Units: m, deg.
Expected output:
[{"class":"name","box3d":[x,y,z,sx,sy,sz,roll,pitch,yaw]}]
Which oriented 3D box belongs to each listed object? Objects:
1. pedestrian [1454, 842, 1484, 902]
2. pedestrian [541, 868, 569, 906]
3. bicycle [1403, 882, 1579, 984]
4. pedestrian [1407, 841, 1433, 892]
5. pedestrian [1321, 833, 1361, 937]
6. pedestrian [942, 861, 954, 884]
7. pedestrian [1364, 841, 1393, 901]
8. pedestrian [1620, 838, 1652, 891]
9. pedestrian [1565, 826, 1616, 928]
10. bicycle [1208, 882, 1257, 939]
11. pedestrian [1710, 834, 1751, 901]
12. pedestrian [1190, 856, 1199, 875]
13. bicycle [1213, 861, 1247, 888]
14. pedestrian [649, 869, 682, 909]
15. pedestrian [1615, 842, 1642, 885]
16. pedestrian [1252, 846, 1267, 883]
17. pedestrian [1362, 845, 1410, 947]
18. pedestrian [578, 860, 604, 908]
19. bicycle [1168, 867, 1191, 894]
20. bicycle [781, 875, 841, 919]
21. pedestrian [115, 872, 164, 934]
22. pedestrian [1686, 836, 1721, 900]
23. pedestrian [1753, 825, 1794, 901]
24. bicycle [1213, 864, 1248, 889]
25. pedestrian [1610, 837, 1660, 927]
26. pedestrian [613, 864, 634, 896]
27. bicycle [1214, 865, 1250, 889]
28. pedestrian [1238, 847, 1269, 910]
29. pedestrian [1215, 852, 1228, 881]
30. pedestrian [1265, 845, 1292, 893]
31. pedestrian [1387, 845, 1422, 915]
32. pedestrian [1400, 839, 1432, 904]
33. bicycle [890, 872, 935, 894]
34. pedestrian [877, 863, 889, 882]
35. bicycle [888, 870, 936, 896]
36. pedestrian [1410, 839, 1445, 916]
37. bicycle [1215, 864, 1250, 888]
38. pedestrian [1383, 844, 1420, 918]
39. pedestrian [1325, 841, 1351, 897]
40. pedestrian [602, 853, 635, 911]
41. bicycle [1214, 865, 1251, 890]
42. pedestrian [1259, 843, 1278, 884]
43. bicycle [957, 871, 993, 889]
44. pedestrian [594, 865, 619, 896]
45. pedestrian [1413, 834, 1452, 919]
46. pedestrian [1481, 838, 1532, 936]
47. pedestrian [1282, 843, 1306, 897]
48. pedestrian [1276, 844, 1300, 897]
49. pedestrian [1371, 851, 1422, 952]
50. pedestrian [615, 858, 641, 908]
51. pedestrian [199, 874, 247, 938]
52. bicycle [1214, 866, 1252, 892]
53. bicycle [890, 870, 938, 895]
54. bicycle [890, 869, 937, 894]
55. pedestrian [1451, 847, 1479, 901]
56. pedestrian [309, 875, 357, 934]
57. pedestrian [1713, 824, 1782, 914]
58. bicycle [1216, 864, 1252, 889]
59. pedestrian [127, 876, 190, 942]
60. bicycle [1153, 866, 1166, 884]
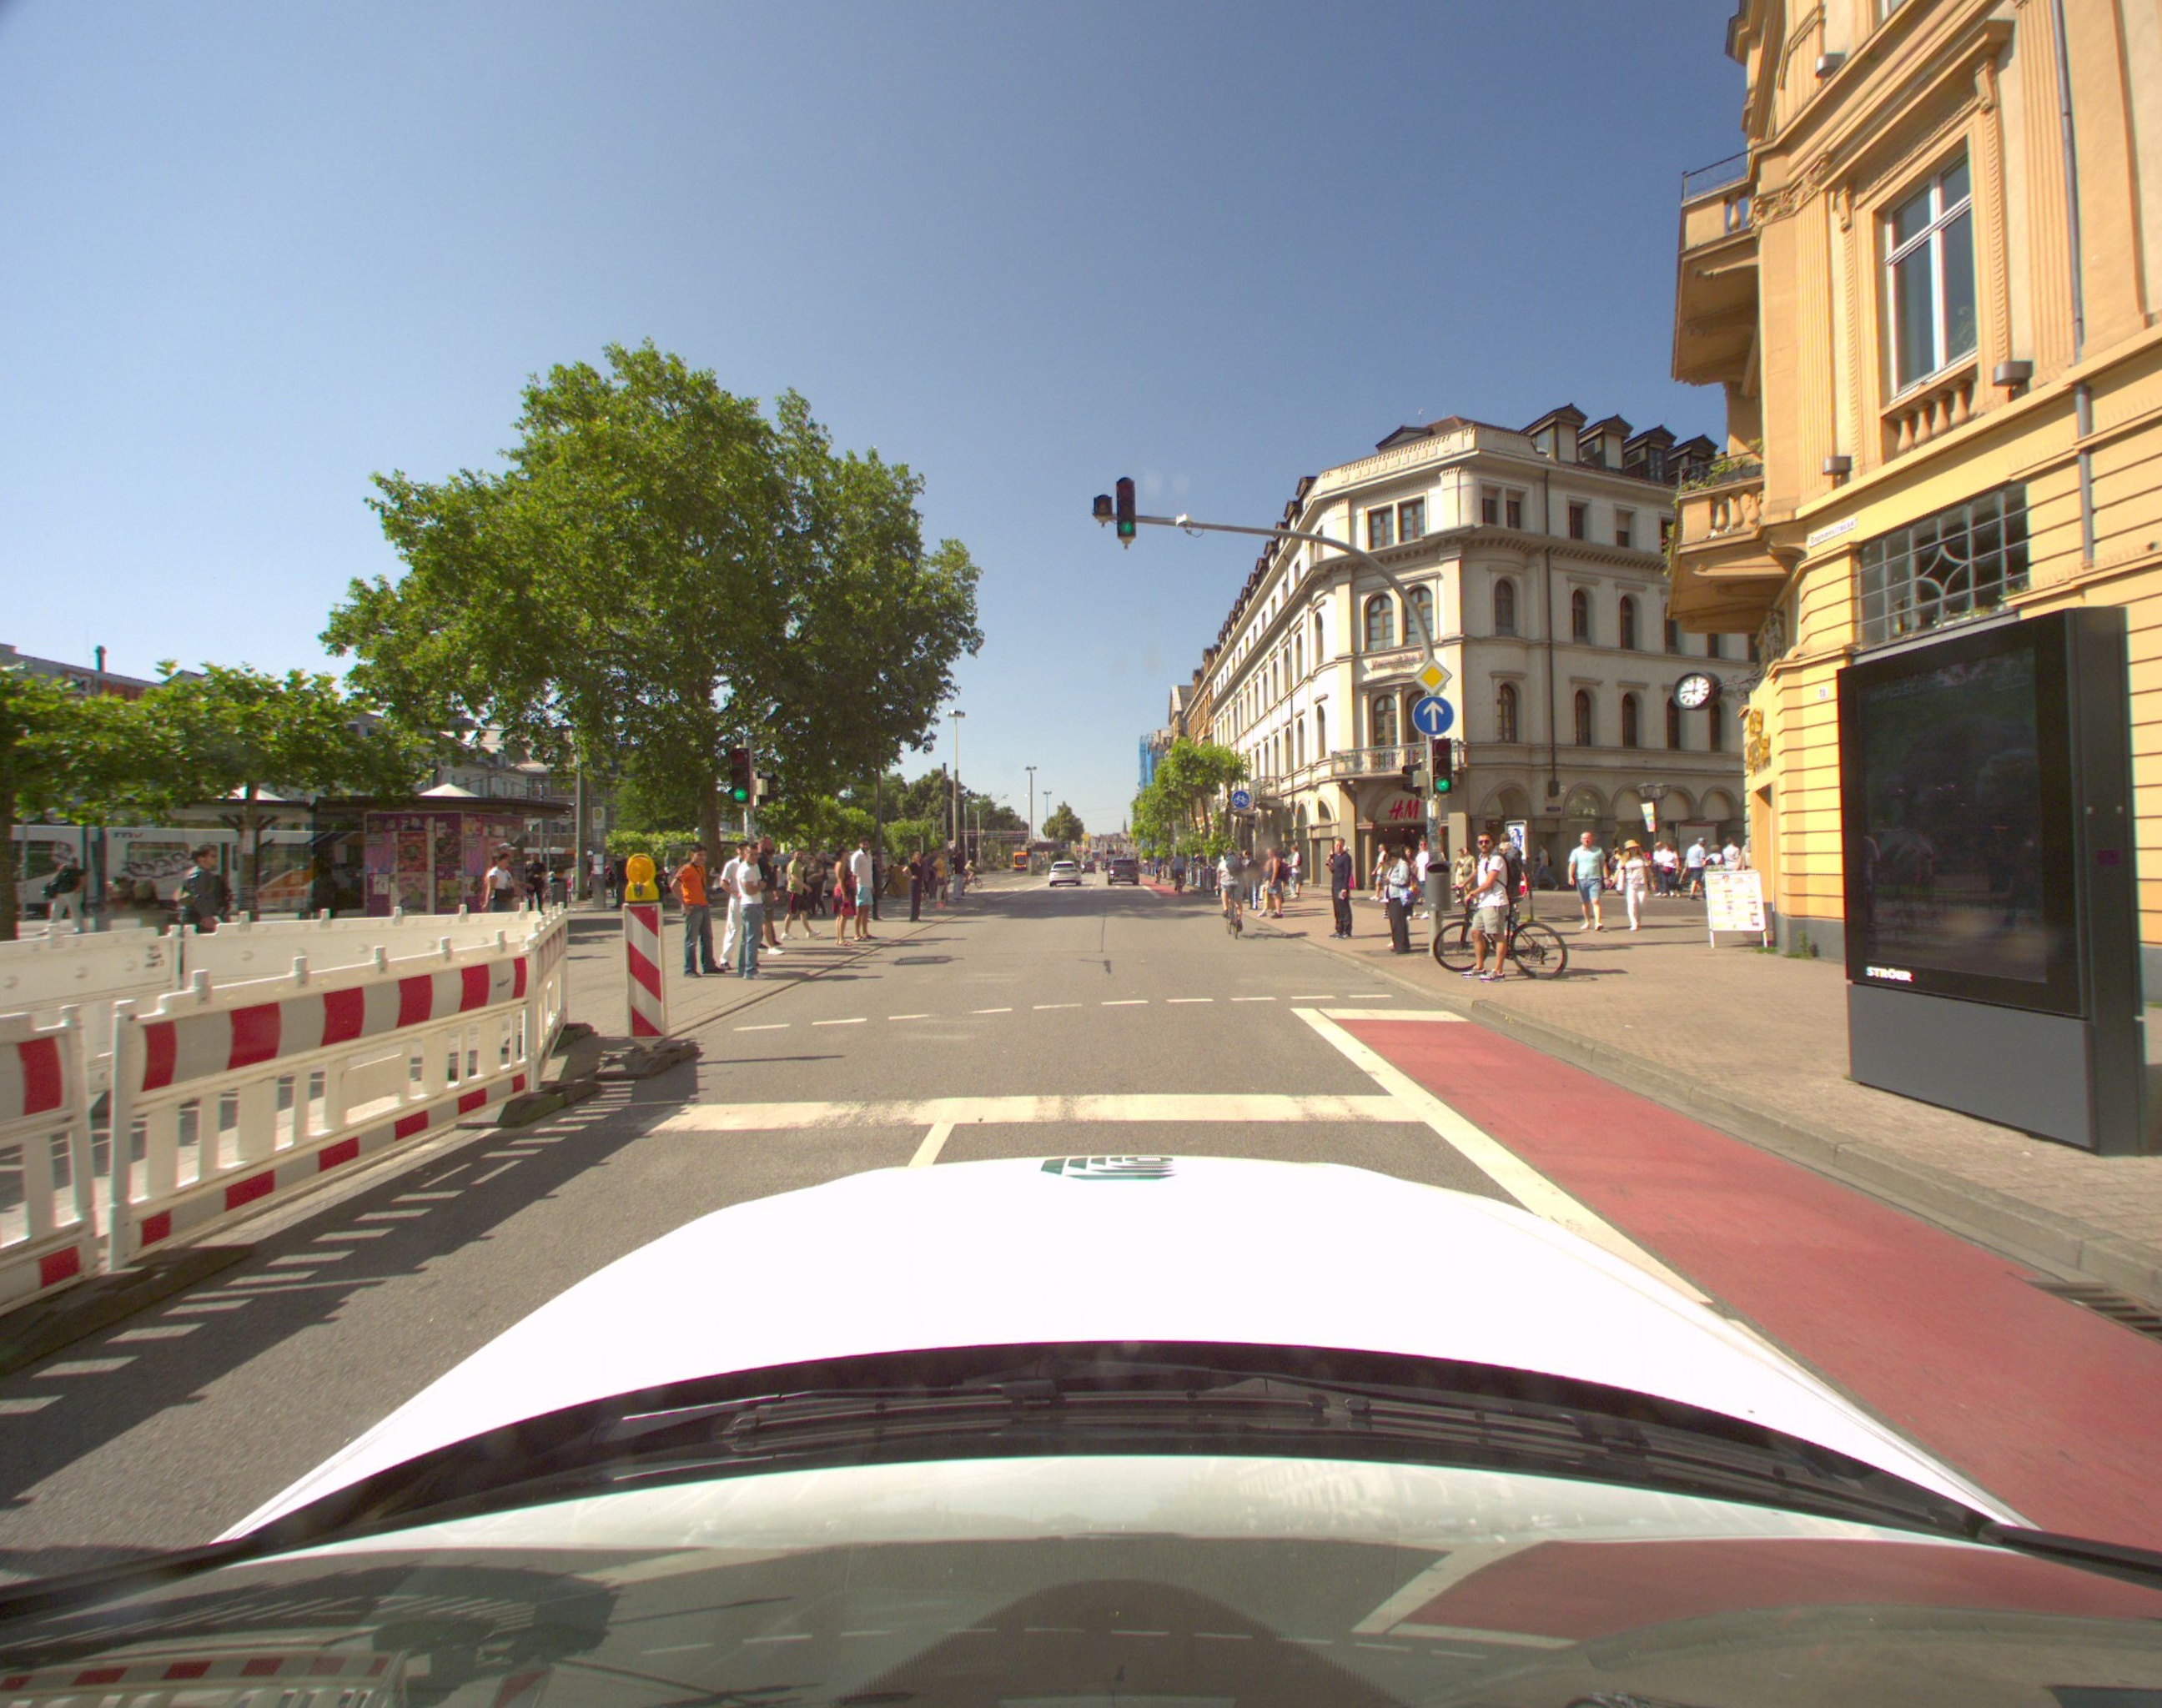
[{"class":"pedestrian","box3d":[11.427,0.524,23.988,0.539,1.716,0.677,0,-1,-3]},{"class":"pedestrian","box3d":[-21.725,1.364,33.670,0.740,1.514,0.607,-1,0,7]},{"class":"bicycle","box3d":[4.927,0.907,9.913,0.604,1.082,1.820,-3,0,-33]},{"class":"pedestrian","box3d":[11.850,0.444,28.510,0.608,1.764,0.677,-1,-1,0]},{"class":"pedestrian","box3d":[4.844,0.571,15.215,0.520,1.898,0.642,-2,-1,5]},{"class":"pedestrian","box3d":[-9.527,1.330,58.458,0.768,1.629,0.612,-1,-1,1]},{"class":"pedestrian","box3d":[9.128,0.518,24.978,0.608,1.807,0.677,-1,-1,0]},{"class":"pedestrian","box3d":[18.236,0.346,26.761,0.543,1.716,0.671,0,0,-29]},{"class":"pedestrian","box3d":[9.275,0.412,14.829,0.554,1.801,0.581,-1,-2,-43]},{"class":"bicycle","box3d":[2.967,1.087,16.110,0.628,0.980,2.089,0,0,1]},{"class":"pedestrian","box3d":[18.536,0.369,23.240,0.660,1.869,0.676,0,0,-24]},{"class":"pedestrian","box3d":[9.826,1.001,70.739,0.673,1.572,0.612,-1,-1,0]},{"class":"bicycle","box3d":[6.533,0.892,35.729,1.415,1.114,0.401,-2,0,2]},{"class":"pedestrian","box3d":[-13.772,1.152,26.991,0.627,1.293,0.735,-1,-1,22]},{"class":"pedestrian","box3d":[20.432,0.357,30.385,0.660,1.600,0.563,0,0,-24]},{"class":"pedestrian","box3d":[8.874,0.525,40.487,0.626,1.792,0.612,-1,-1,1]},{"class":"pedestrian","box3d":[5.068,0.685,13.550,0.546,1.631,0.589,-2,-1,5]},{"class":"pedestrian","box3d":[-16.477,1.005,27.385,0.494,1.603,0.501,-3,-2,21]},{"class":"bicycle","box3d":[4.132,1.101,34.342,0.771,1.006,2.330,-1,0,2]},{"class":"bicycle","box3d":[-6.963,1.082,21.082,0.486,1.029,1.941,-1,0,14]},{"class":"pedestrian","box3d":[-19.867,1.014,17.189,0.616,1.262,0.604,0,-1,-43]},{"class":"pedestrian","box3d":[18.463,0.395,24.150,0.543,1.869,0.671,0,0,-29]},{"class":"pedestrian","box3d":[17.387,0.211,20.451,0.660,1.869,0.563,0,0,-24]},{"class":"bicycle","box3d":[6.388,0.958,34.869,1.415,0.980,0.445,-2,0,2]},{"class":"pedestrian","box3d":[9.936,0.489,14.607,0.554,1.569,0.581,-1,-2,-43]},{"class":"pedestrian","box3d":[-22.341,1.265,39.767,0.603,1.514,0.745,-1,0,-5]},{"class":"bicycle","box3d":[6.350,0.965,34.376,1.415,0.980,0.445,-2,0,2]},{"class":"pedestrian","box3d":[4.958,0.691,23.476,0.608,1.739,0.677,-5,-1,0]},{"class":"pedestrian","box3d":[8.343,0.751,48.300,0.673,1.665,0.612,-1,-1,0]},{"class":"pedestrian","box3d":[7.180,0.529,29.592,0.613,1.705,0.672,-2,0,-26]},{"class":"pedestrian","box3d":[7.617,0.601,19.193,0.521,1.609,0.642,-2,-1,2]},{"class":"pedestrian","box3d":[9.764,0.511,23.749,0.673,1.855,0.541,-1,-1,0]},{"class":"bicycle","box3d":[-8.024,1.382,38.872,2.082,0.980,0.682,-1,-1,-10]},{"class":"pedestrian","box3d":[-17.606,1.623,72.425,0.704,1.707,0.658,-1,-1,17]},{"class":"bicycle","box3d":[-7.563,1.279,36.531,2.082,1.089,0.682,-1,-1,-10]},{"class":"pedestrian","box3d":[7.876,0.525,18.519,0.521,1.702,0.536,-2,-1,2]},{"class":"bicycle","box3d":[6.558,0.955,35.300,1.415,0.980,0.401,-2,0,2]},{"class":"pedestrian","box3d":[7.187,0.608,18.281,0.521,1.611,0.642,-2,-1,2]},{"class":"pedestrian","box3d":[8.399,0.489,26.638,0.608,1.824,0.677,-1,-1,0]},{"class":"pedestrian","box3d":[-14.933,0.902,26.276,0.627,1.810,0.618,-3,-2,21]},{"class":"bicycle","box3d":[6.203,0.954,33.463,1.415,0.980,0.445,-2,0,2]},{"class":"pedestrian","box3d":[8.347,0.409,36.219,0.673,1.792,0.612,-1,-1,1]},{"class":"bicycle","box3d":[-6.278,1.539,48.154,1.971,1.026,0.673,0,-1,-25]},{"class":"pedestrian","box3d":[-23.503,1.292,40.317,0.738,1.514,0.739,-1,0,15]},{"class":"pedestrian","box3d":[7.726,0.483,17.915,0.521,1.824,0.642,-2,-1,2]},{"class":"pedestrian","box3d":[7.383,0.565,14.148,0.546,1.640,0.589,-2,-1,5]},{"class":"pedestrian","box3d":[7.222,0.541,27.672,0.608,1.807,0.677,-1,-1,0]},{"class":"pedestrian","box3d":[7.223,0.561,28.430,0.608,1.807,0.677,-1,-1,0]},{"class":"pedestrian","box3d":[4.917,0.730,12.720,0.520,1.521,0.642,-2,-1,5]},{"class":"pedestrian","box3d":[-15.309,0.983,27.514,0.508,1.657,0.528,-3,-2,21]},{"class":"pedestrian","box3d":[-17.468,1.046,16.576,0.605,1.262,0.615,-1,-1,37]},{"class":"bicycle","box3d":[6.081,0.986,32.642,1.415,0.980,0.445,-2,0,2]},{"class":"bicycle","box3d":[-7.622,1.286,37.209,2.082,1.089,0.682,-1,-1,-10]},{"class":"bicycle","box3d":[-7.755,1.284,37.863,2.082,1.089,0.682,-1,-1,-10]},{"class":"pedestrian","box3d":[11.755,0.598,24.927,0.538,1.633,0.677,0,-1,0]},{"class":"pedestrian","box3d":[-16.540,1.100,18.008,0.605,1.262,0.615,-1,-1,28]},{"class":"pedestrian","box3d":[14.033,0.319,17.159,0.808,1.824,0.780,0,-3,-22]},{"class":"bicycle","box3d":[6.370,0.952,33.920,1.415,0.980,0.445,-2,0,2]},{"class":"pedestrian","box3d":[-18.422,1.077,16.279,0.611,1.262,0.609,0,0,-20]},{"class":"bicycle","box3d":[4.715,1.241,48.901,0.645,0.998,2.031,-1,0,2]}]
